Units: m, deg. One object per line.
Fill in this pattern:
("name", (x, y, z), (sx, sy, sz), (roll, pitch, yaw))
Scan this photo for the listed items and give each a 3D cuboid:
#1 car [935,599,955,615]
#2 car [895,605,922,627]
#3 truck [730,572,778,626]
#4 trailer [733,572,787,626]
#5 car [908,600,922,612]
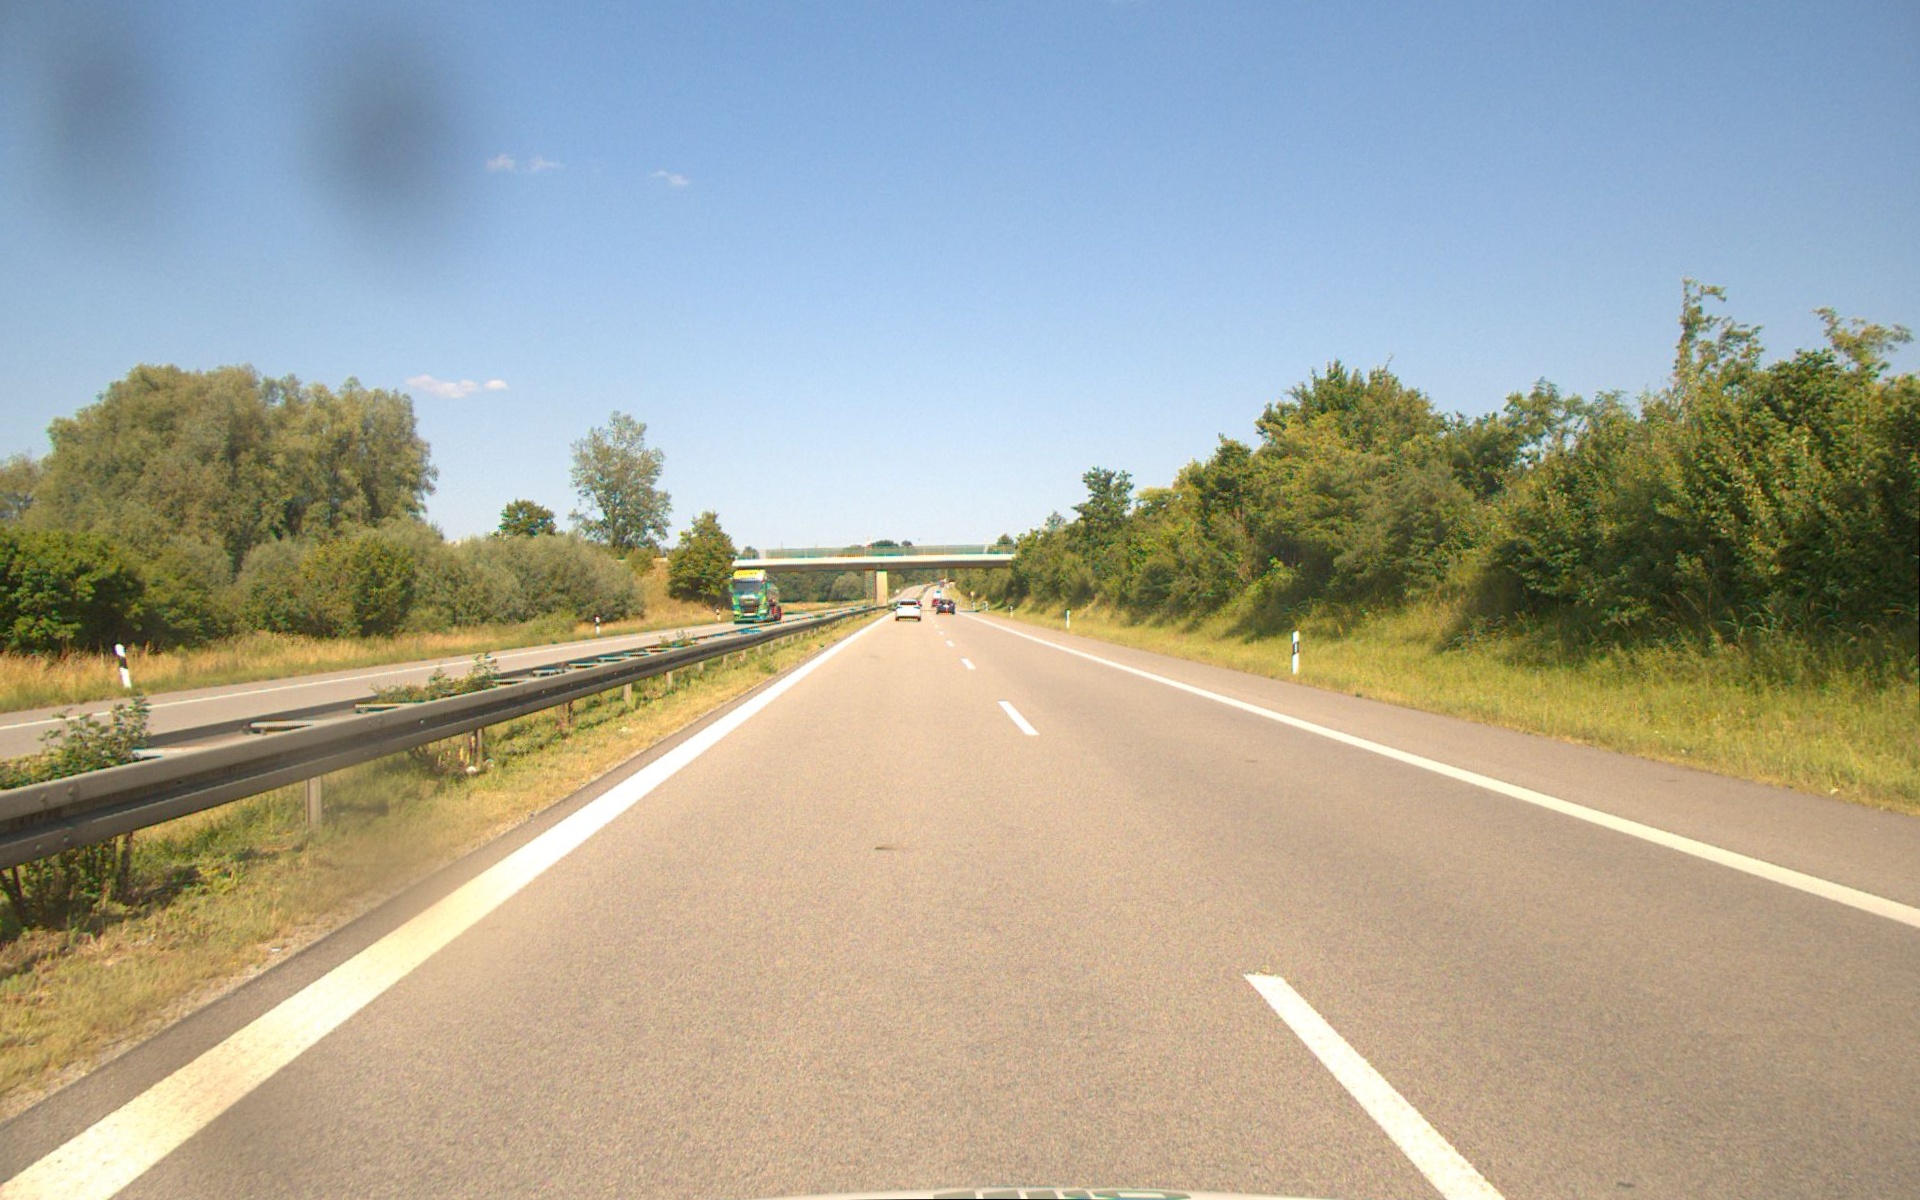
("car", (-1.481, 0.724, 163.855), (1.806, 1.546, 3.998), (1, 0, -2))
("car", (-3.505, 1.081, 113.149), (1.806, 1.440, 3.998), (1, 0, -2))
("truck", (-14.870, -0.053, 119.507), (2.896, 3.796, 5.566), (-1, 0, -2))
("trailer", (-15.065, -0.039, 125.636), (2.920, 3.796, 12.414), (-1, 0, -2))
("car", (-5.847, 0.820, 213.735), (1.806, 1.461, 3.998), (1, 0, -2))
